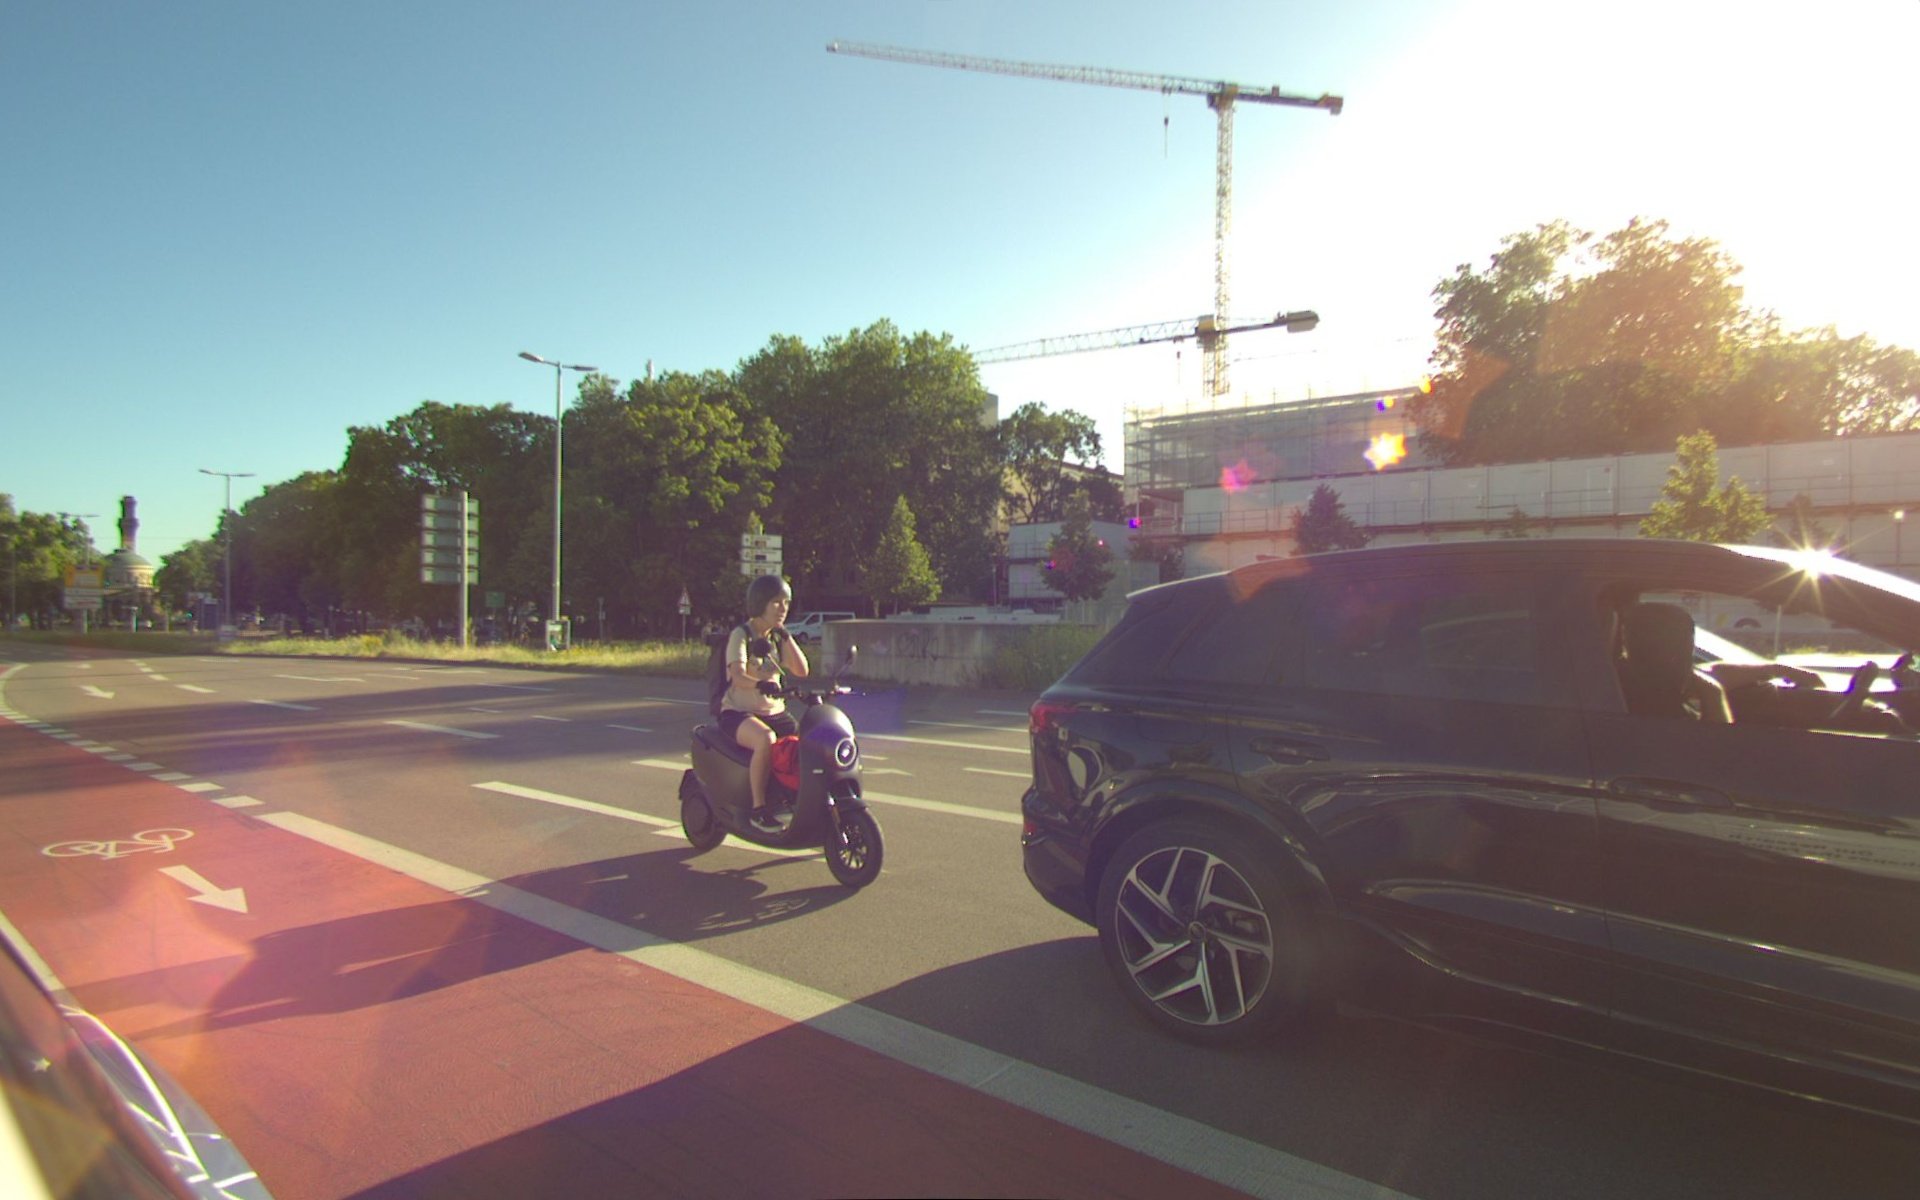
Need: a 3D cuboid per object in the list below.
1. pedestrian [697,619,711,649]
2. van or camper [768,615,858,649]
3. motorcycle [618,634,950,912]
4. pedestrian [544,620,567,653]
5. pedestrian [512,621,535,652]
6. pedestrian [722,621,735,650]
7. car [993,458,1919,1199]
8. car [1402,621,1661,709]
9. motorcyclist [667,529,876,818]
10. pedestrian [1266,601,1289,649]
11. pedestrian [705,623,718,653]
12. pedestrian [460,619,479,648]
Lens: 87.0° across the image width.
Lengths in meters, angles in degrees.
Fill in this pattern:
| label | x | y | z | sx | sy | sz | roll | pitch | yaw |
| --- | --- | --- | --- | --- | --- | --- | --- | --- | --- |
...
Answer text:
| label | x | y | z | sx | sy | sz | roll | pitch | yaw |
| --- | --- | --- | --- | --- | --- | --- | --- | --- | --- |
| pedestrian | -13.337 | 1.775 | 52.694 | 0.494 | 1.522 | 0.492 | -1 | -2 | 41 |
| van or camper | -8.957 | 1.929 | 61.889 | 1.951 | 1.960 | 5.425 | -2 | -2 | 44 |
| motorcycle | -1.048 | 0.843 | 5.726 | 1.943 | 1.290 | 0.817 | -1 | -2 | 41 |
| pedestrian | -25.472 | 2.288 | 63.762 | 0.815 | 1.978 | 1.111 | -1 | 0 | 41 |
| pedestrian | -28.667 | 2.407 | 66.433 | 1.054 | 1.978 | 0.942 | -1 | 0 | 26 |
| pedestrian | -12.316 | 1.880 | 53.884 | 0.494 | 1.522 | 0.492 | -1 | -2 | 41 |
| car | 2.598 | 0.551 | 3.144 | 4.660 | 1.720 | 2.144 | -1 | -1 | 40 |
| car | 10.714 | 1.153 | 19.119 | 3.978 | 1.492 | 1.857 | -1 | -2 | 41 |
| motorcyclist | -1.074 | 0.389 | 5.787 | 0.877 | 1.475 | 0.813 | -1 | -2 | 41 |
| pedestrian | 10.964 | 0.849 | 34.958 | 0.597 | 1.614 | 0.580 | -1 | 0 | 38 |
| pedestrian | -13.072 | 1.998 | 53.283 | 0.494 | 1.522 | 0.492 | -1 | -2 | 41 |
| pedestrian | -34.422 | 2.347 | 70.993 | 0.942 | 2.029 | 0.842 | -1 | 0 | -8 |
